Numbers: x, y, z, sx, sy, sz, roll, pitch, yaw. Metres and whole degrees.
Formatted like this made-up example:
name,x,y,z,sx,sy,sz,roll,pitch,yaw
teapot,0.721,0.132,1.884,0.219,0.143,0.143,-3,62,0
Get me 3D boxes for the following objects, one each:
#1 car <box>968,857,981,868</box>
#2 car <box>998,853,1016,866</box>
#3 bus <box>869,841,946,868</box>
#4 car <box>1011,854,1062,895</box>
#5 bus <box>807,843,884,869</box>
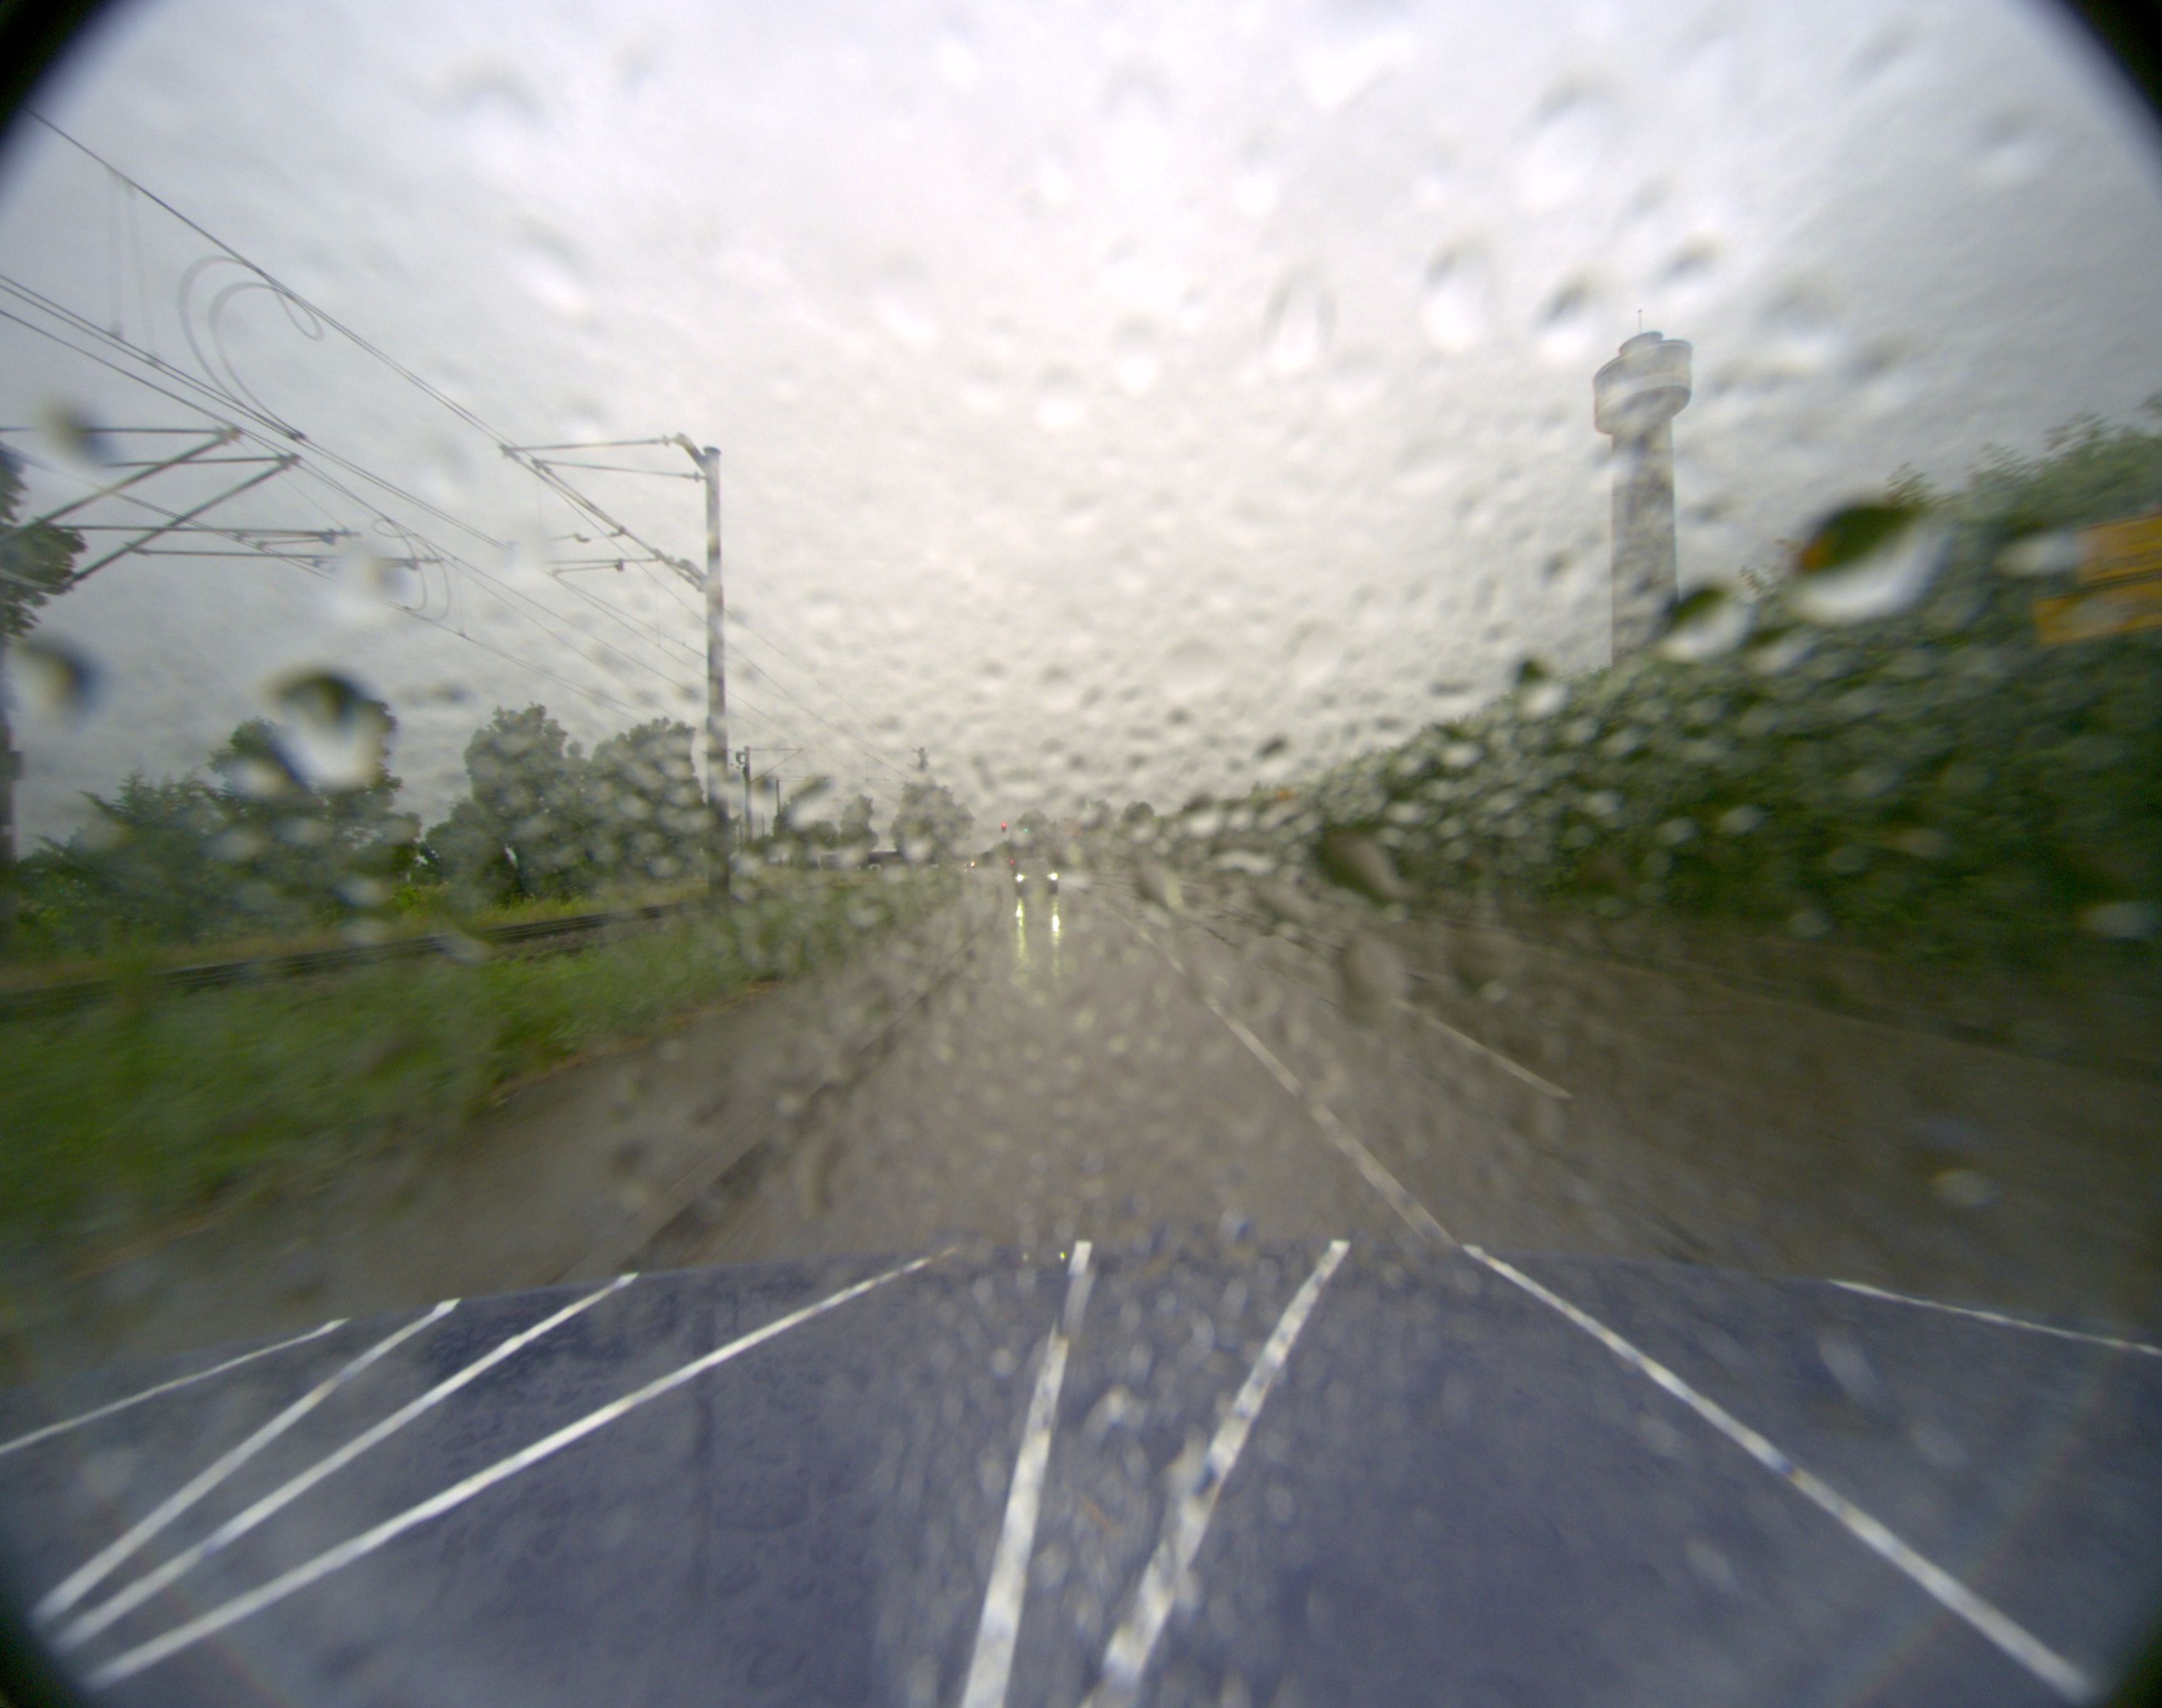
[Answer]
name,x,y,z,sx,sy,sz,roll,pitch,yaw
car,-20.669,1.690,147.578,1.920,2.002,4.000,-2,1,2
car,-9.248,0.709,94.403,1.768,1.528,3.872,-1,0,-12
bus,-21.628,0.073,94.380,9.968,3.059,2.683,-2,1,30
car,-2.036,0.845,33.388,1.999,1.622,3.997,-2,0,-6
bus,-30.721,0.301,98.853,9.971,3.059,2.682,-2,1,22
